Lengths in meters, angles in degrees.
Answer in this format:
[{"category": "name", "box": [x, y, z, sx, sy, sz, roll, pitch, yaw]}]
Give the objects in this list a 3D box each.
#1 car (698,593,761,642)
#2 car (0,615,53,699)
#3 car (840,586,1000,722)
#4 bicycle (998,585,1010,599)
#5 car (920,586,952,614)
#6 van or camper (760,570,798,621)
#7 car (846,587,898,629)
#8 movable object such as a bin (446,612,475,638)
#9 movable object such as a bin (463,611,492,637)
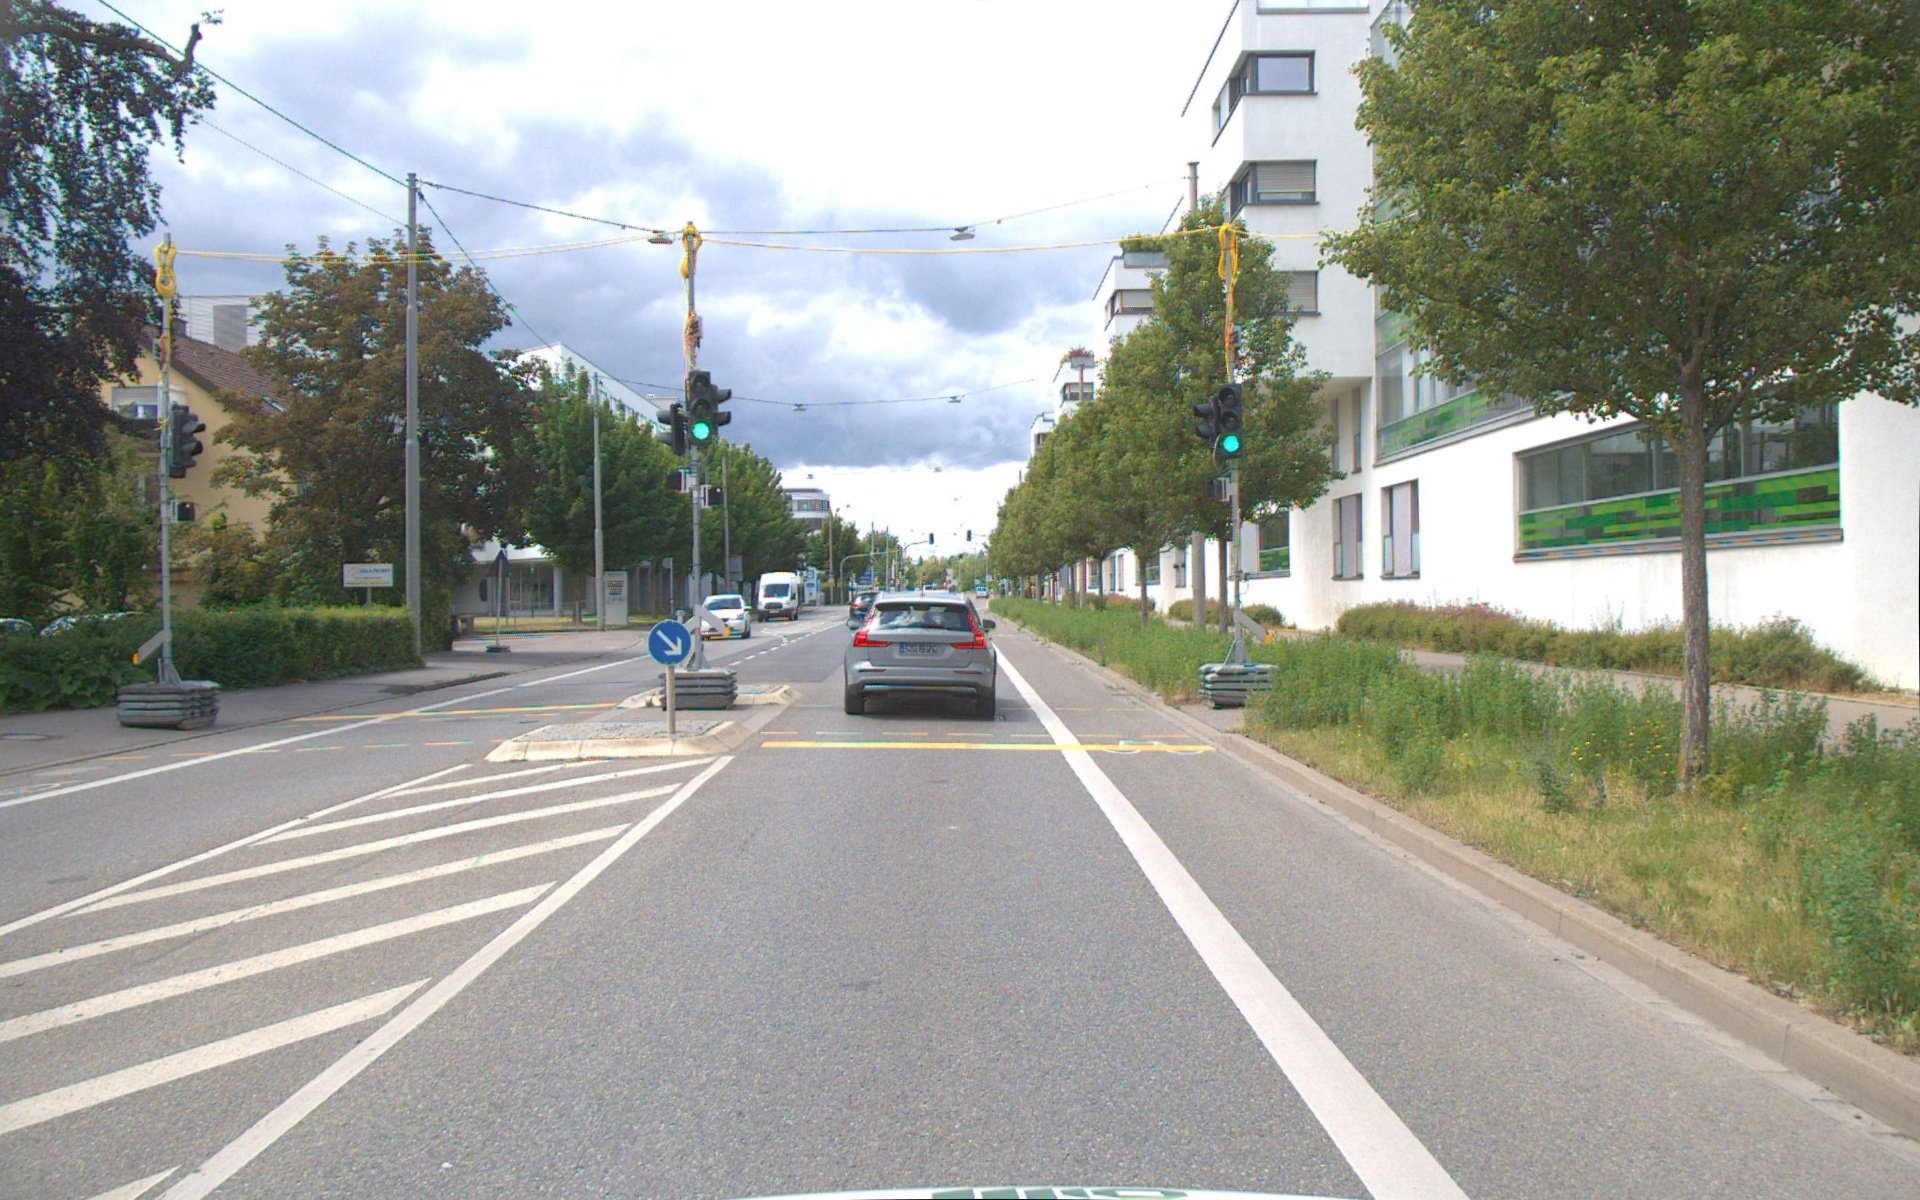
[{"category": "car", "box": [-7.817, 0.577, 56.425, 1.627, 1.542, 3.999, -1, 1, -1]}, {"category": "car", "box": [-18.780, 1.094, 31.125, 1.628, 1.542, 3.434, -1, 1, -3]}, {"category": "car", "box": [-0.414, 0.611, 20.980, 1.816, 1.539, 4.001, 1, 0, 1]}, {"category": "bicycle", "box": [4.509, -0.839, 171.586, 1.045, 1.478, 2.977, -2, 0, -1]}, {"category": "car", "box": [-1.373, -0.035, 93.881, 1.807, 1.539, 3.999, 0, 1, -1]}, {"category": "van or camper", "box": [-10.427, -0.252, 95.641, 1.955, 2.781, 6.046, -2, 0, -5]}, {"category": "car", "box": [-3.341, 0.287, 63.356, 1.817, 1.539, 3.999, 0, 1, -1]}, {"category": "movable object such as a bin", "box": [-19.691, 0.979, 65.195, 0.730, 0.958, 1.000, -2, 0, 6]}, {"category": "movable object such as a bin", "box": [-18.936, 0.948, 64.961, 0.730, 0.958, 1.000, -2, 0, 6]}]
